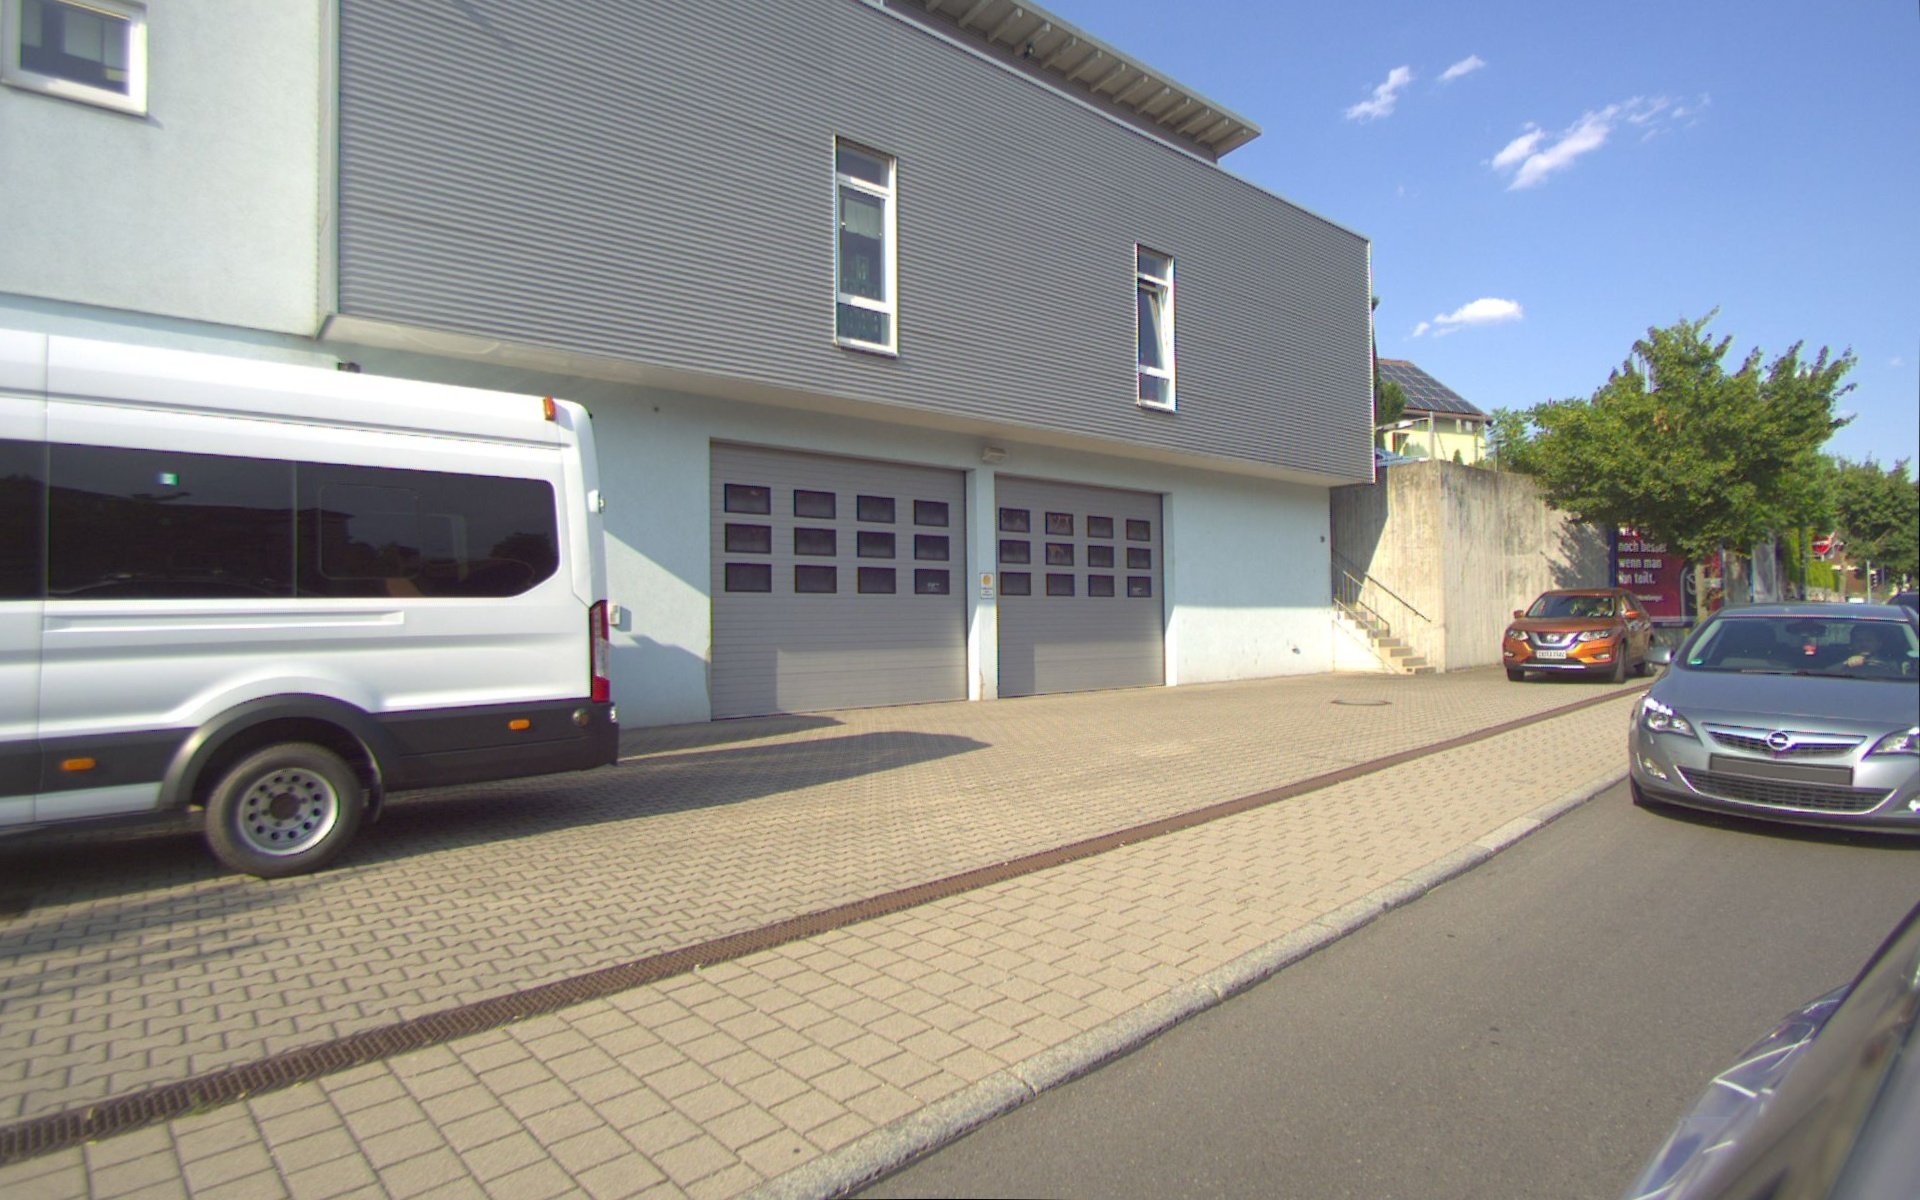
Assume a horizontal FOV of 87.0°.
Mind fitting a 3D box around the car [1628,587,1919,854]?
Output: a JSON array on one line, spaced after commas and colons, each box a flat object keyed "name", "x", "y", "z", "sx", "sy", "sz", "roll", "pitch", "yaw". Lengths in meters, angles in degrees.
[{"name": "car", "x": 6.340, "y": 0.663, "z": 7.349, "sx": 4.075, "sy": 1.440, "sz": 1.649, "roll": 0, "pitch": 1, "yaw": -44}]

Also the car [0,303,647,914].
[{"name": "car", "x": -5.146, "y": 0.035, "z": 5.154, "sx": 6.487, "sy": 2.715, "sz": 2.153, "roll": 0, "pitch": -1, "yaw": -41}]

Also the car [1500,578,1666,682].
[{"name": "car", "x": 11.557, "y": 0.484, "z": 18.630, "sx": 1.833, "sy": 1.670, "sz": 4.469, "roll": -1, "pitch": 0, "yaw": 42}]

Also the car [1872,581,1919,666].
[{"name": "car", "x": 20.057, "y": 0.455, "z": 20.424, "sx": 3.982, "sy": 1.626, "sz": 1.792, "roll": 1, "pitch": 0, "yaw": -38}]

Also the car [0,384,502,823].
[{"name": "car", "x": -6.840, "y": 0.021, "z": 7.040, "sx": 6.330, "sy": 2.757, "sz": 2.114, "roll": 0, "pitch": -1, "yaw": -41}]

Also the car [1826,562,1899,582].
[{"name": "car", "x": 72.745, "y": -2.216, "z": 81.652, "sx": 1.644, "sy": 1.475, "sz": 4.086, "roll": 0, "pitch": 0, "yaw": -25}]
